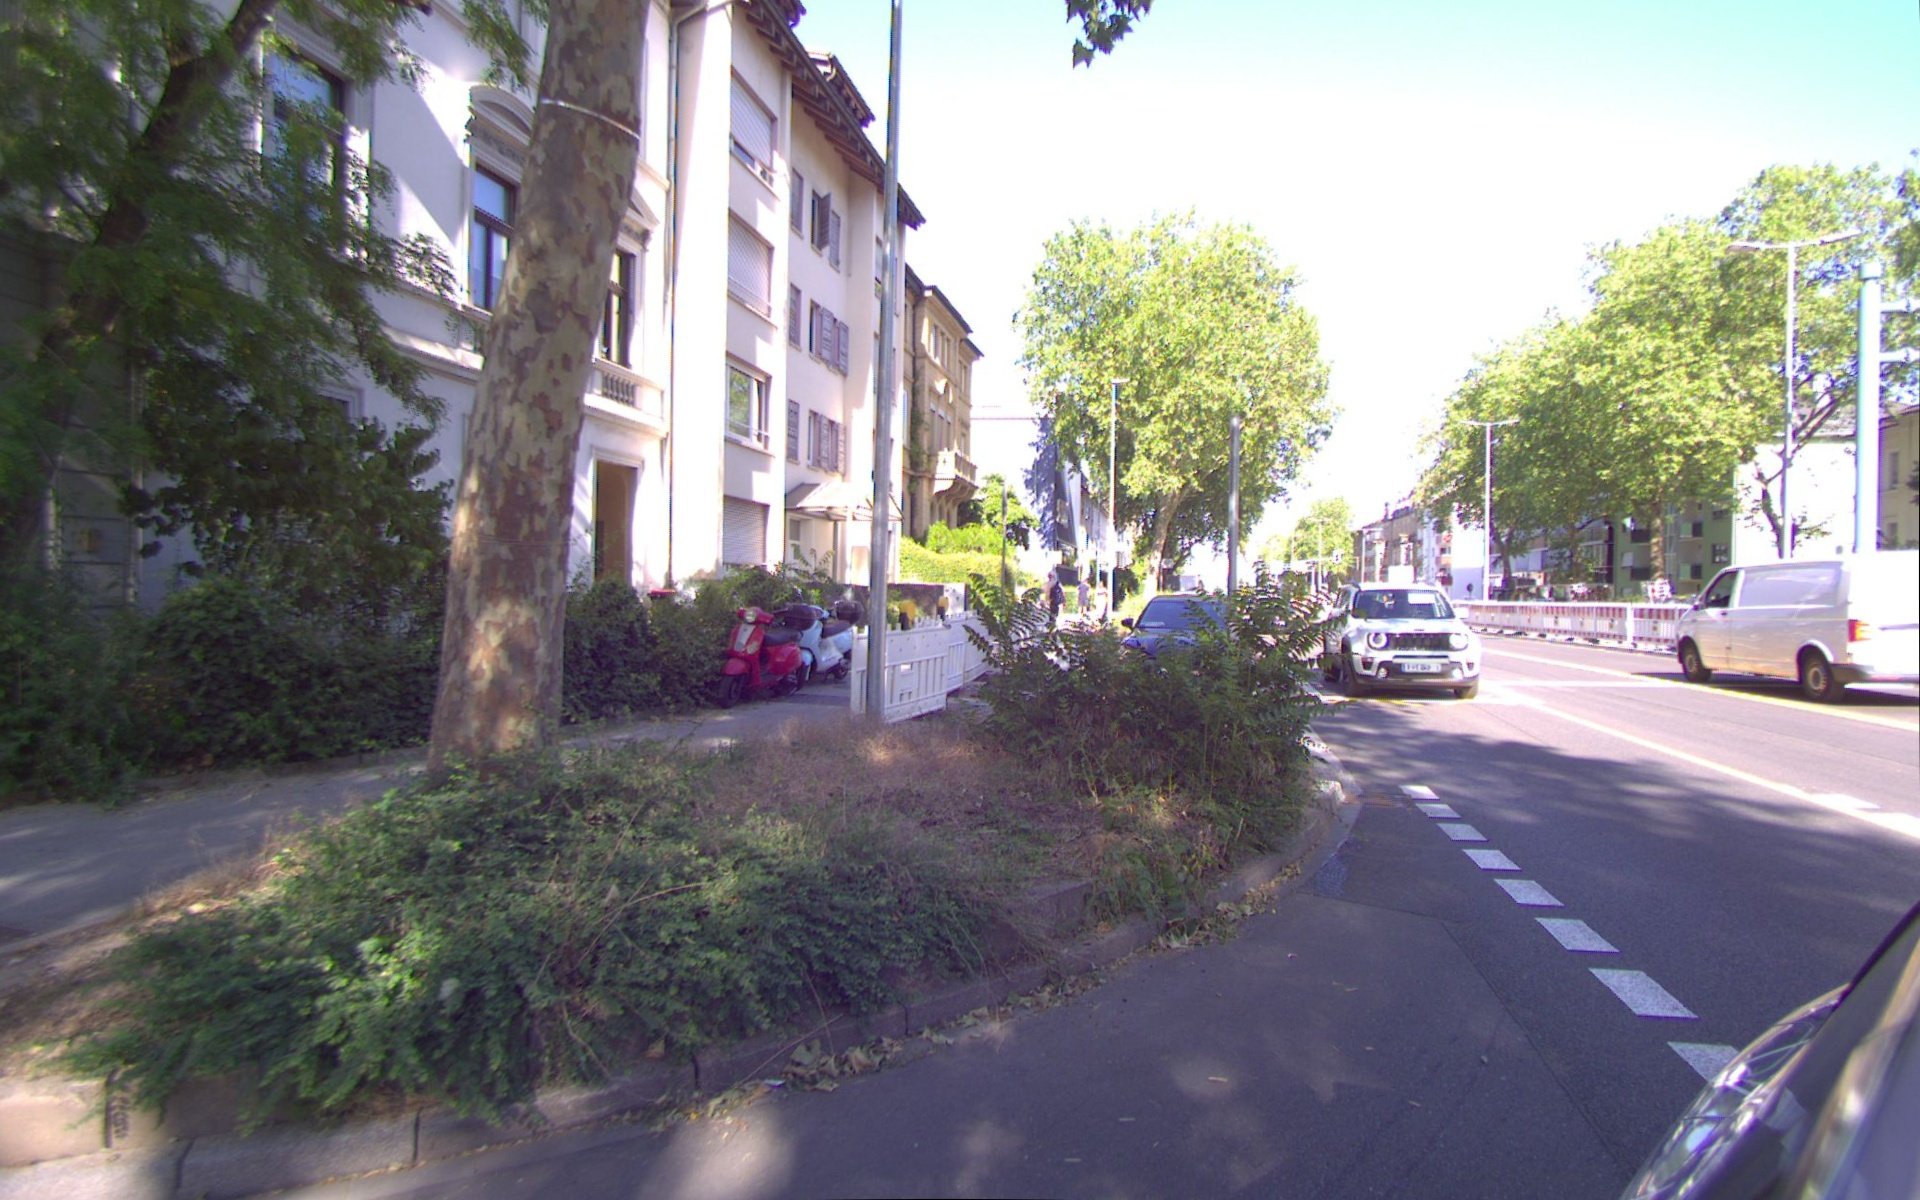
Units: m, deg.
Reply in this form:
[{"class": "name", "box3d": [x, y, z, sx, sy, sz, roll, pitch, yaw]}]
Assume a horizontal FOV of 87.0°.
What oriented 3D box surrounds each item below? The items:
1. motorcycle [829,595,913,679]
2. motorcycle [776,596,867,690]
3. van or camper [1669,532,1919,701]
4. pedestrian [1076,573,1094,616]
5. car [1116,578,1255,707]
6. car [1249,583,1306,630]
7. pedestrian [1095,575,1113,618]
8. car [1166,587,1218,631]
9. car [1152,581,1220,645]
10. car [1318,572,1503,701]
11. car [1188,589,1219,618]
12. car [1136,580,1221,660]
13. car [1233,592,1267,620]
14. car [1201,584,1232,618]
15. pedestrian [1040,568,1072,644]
[{"class": "motorcycle", "box3d": [-1.343, 0.530, 15.635, 0.591, 1.201, 1.791, 1, 1, 20]}, {"class": "motorcycle", "box3d": [-1.886, 0.560, 13.986, 0.591, 1.201, 1.545, 1, 1, 20]}, {"class": "van or camper", "box3d": [12.647, 0.165, 14.641, 1.969, 2.039, 5.308, -1, 0, 12]}, {"class": "pedestrian", "box3d": [5.392, -0.241, 43.651, 0.689, 1.819, 0.798, 1, 0, 14]}, {"class": "car", "box3d": [3.219, 0.490, 14.436, 1.601, 1.504, 4.081, 3, 1, 13]}, {"class": "car", "box3d": [12.601, 0.229, 40.379, 1.841, 1.748, 4.489, 0, 0, 13]}, {"class": "pedestrian", "box3d": [6.178, -0.152, 43.460, 0.689, 1.819, 0.712, 1, 0, 14]}, {"class": "car", "box3d": [8.678, 0.297, 37.875, 1.696, 1.430, 4.458, 4, 1, 13]}, {"class": "car", "box3d": [6.066, 0.301, 27.126, 1.601, 1.504, 3.719, 3, 1, 13]}, {"class": "car", "box3d": [6.934, 0.474, 16.076, 1.841, 1.748, 4.489, 0, 0, 13]}, {"class": "car", "box3d": [13.854, 0.170, 57.686, 1.650, 1.536, 3.982, 1, 1, 13]}, {"class": "car", "box3d": [4.788, 0.367, 22.095, 1.601, 1.504, 4.040, 3, 1, 13]}, {"class": "car", "box3d": [15.789, 0.302, 55.190, 1.535, 1.397, 3.632, 1, 1, 13]}, {"class": "car", "box3d": [16.120, 0.047, 63.745, 1.728, 1.990, 4.489, 1, 1, 13]}, {"class": "pedestrian", "box3d": [2.427, 0.141, 25.573, 0.657, 1.872, 0.691, 2, 0, 14]}]
